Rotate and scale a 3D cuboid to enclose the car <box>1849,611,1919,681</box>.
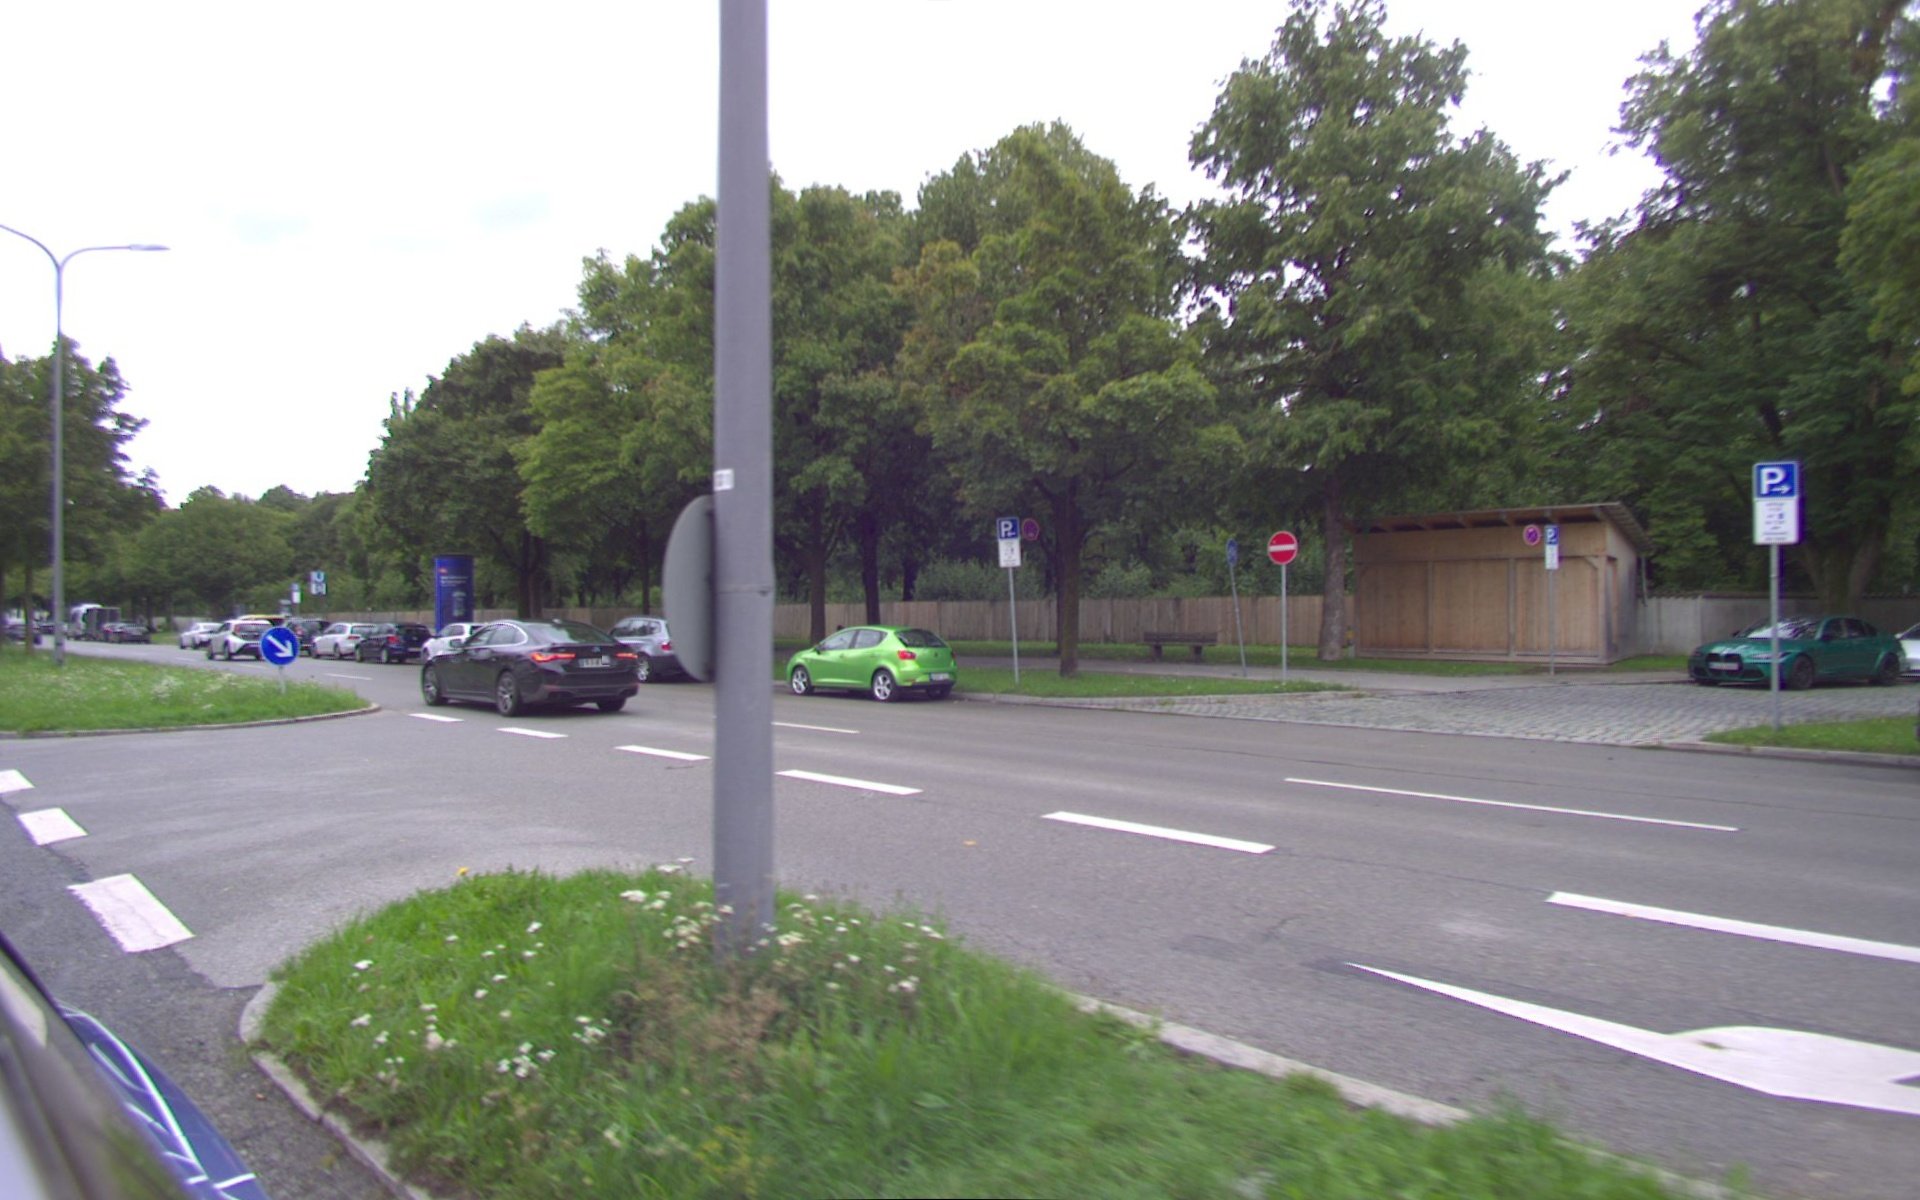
[{"bbox_3d":[21.755,0.942,21.744,4.393,1.420,1.865,0,-1,-16],"label":"car"}]

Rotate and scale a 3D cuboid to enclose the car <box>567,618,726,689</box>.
[{"bbox_3d":[-7.988,1.292,25.621,4.455,1.643,1.802,-1,-2,42],"label":"car"}]

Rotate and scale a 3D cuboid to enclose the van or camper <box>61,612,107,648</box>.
[{"bbox_3d":[-70.349,2.384,81.277,4.927,2.829,1.973,-1,-2,40],"label":"van or camper"}]

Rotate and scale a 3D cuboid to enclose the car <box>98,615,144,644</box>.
[{"bbox_3d":[-60.715,2.122,73.239,3.998,2.029,1.973,-1,-1,41],"label":"car"}]

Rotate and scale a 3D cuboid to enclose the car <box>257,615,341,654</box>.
[{"bbox_3d":[-29.072,1.515,44.480,4.038,1.628,1.982,-1,-2,40],"label":"car"}]

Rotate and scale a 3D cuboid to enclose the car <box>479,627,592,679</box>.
[{"bbox_3d":[-12.437,1.521,29.549,3.686,1.433,1.632,-1,-4,43],"label":"car"}]

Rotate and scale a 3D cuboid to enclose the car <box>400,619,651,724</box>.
[{"bbox_3d":[-7.097,1.048,16.281,4.779,1.459,1.796,-1,-2,41],"label":"car"}]

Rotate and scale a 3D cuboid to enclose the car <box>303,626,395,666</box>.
[{"bbox_3d":[-24.381,1.798,40.338,4.297,1.481,1.803,-1,-2,40],"label":"car"}]

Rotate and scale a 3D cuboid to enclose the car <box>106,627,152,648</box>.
[{"bbox_3d":[-57.361,2.549,69.798,4.038,1.420,1.695,-1,-2,40],"label":"car"}]

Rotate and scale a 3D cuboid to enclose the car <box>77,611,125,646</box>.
[{"bbox_3d":[-66.383,2.226,78.191,4.496,2.611,1.973,-1,-2,40],"label":"car"}]

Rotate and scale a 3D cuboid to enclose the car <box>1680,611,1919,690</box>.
[{"bbox_3d":[16.576,0.944,20.034,3.793,1.420,1.865,0,-1,-18],"label":"car"}]

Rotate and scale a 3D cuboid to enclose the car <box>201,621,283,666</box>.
[{"bbox_3d":[-26.930,1.582,37.939,3.721,1.565,1.801,-1,-1,43],"label":"car"}]

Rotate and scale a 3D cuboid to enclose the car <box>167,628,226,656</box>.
[{"bbox_3d":[-41.728,2.278,55.296,4.038,1.454,1.695,-1,-2,40],"label":"car"}]

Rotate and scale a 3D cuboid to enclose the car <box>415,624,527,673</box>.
[{"bbox_3d":[-15.986,1.569,33.014,4.259,1.488,1.802,-1,-4,43],"label":"car"}]

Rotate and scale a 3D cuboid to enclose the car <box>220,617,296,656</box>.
[{"bbox_3d":[-33.776,1.727,48.638,4.530,1.784,1.838,-1,-2,40],"label":"car"}]

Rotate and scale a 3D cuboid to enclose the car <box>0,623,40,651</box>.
[{"bbox_3d":[-58.200,2.270,62.364,4.500,1.601,1.802,-2,-1,42],"label":"car"}]

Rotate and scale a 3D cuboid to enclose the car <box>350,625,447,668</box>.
[{"bbox_3d":[-20.433,1.680,36.787,3.784,1.457,1.803,-1,-4,40],"label":"car"}]

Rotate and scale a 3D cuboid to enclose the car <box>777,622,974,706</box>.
[{"bbox_3d":[-1.739,1.209,20.022,4.000,1.511,1.622,-2,-3,43],"label":"car"}]
